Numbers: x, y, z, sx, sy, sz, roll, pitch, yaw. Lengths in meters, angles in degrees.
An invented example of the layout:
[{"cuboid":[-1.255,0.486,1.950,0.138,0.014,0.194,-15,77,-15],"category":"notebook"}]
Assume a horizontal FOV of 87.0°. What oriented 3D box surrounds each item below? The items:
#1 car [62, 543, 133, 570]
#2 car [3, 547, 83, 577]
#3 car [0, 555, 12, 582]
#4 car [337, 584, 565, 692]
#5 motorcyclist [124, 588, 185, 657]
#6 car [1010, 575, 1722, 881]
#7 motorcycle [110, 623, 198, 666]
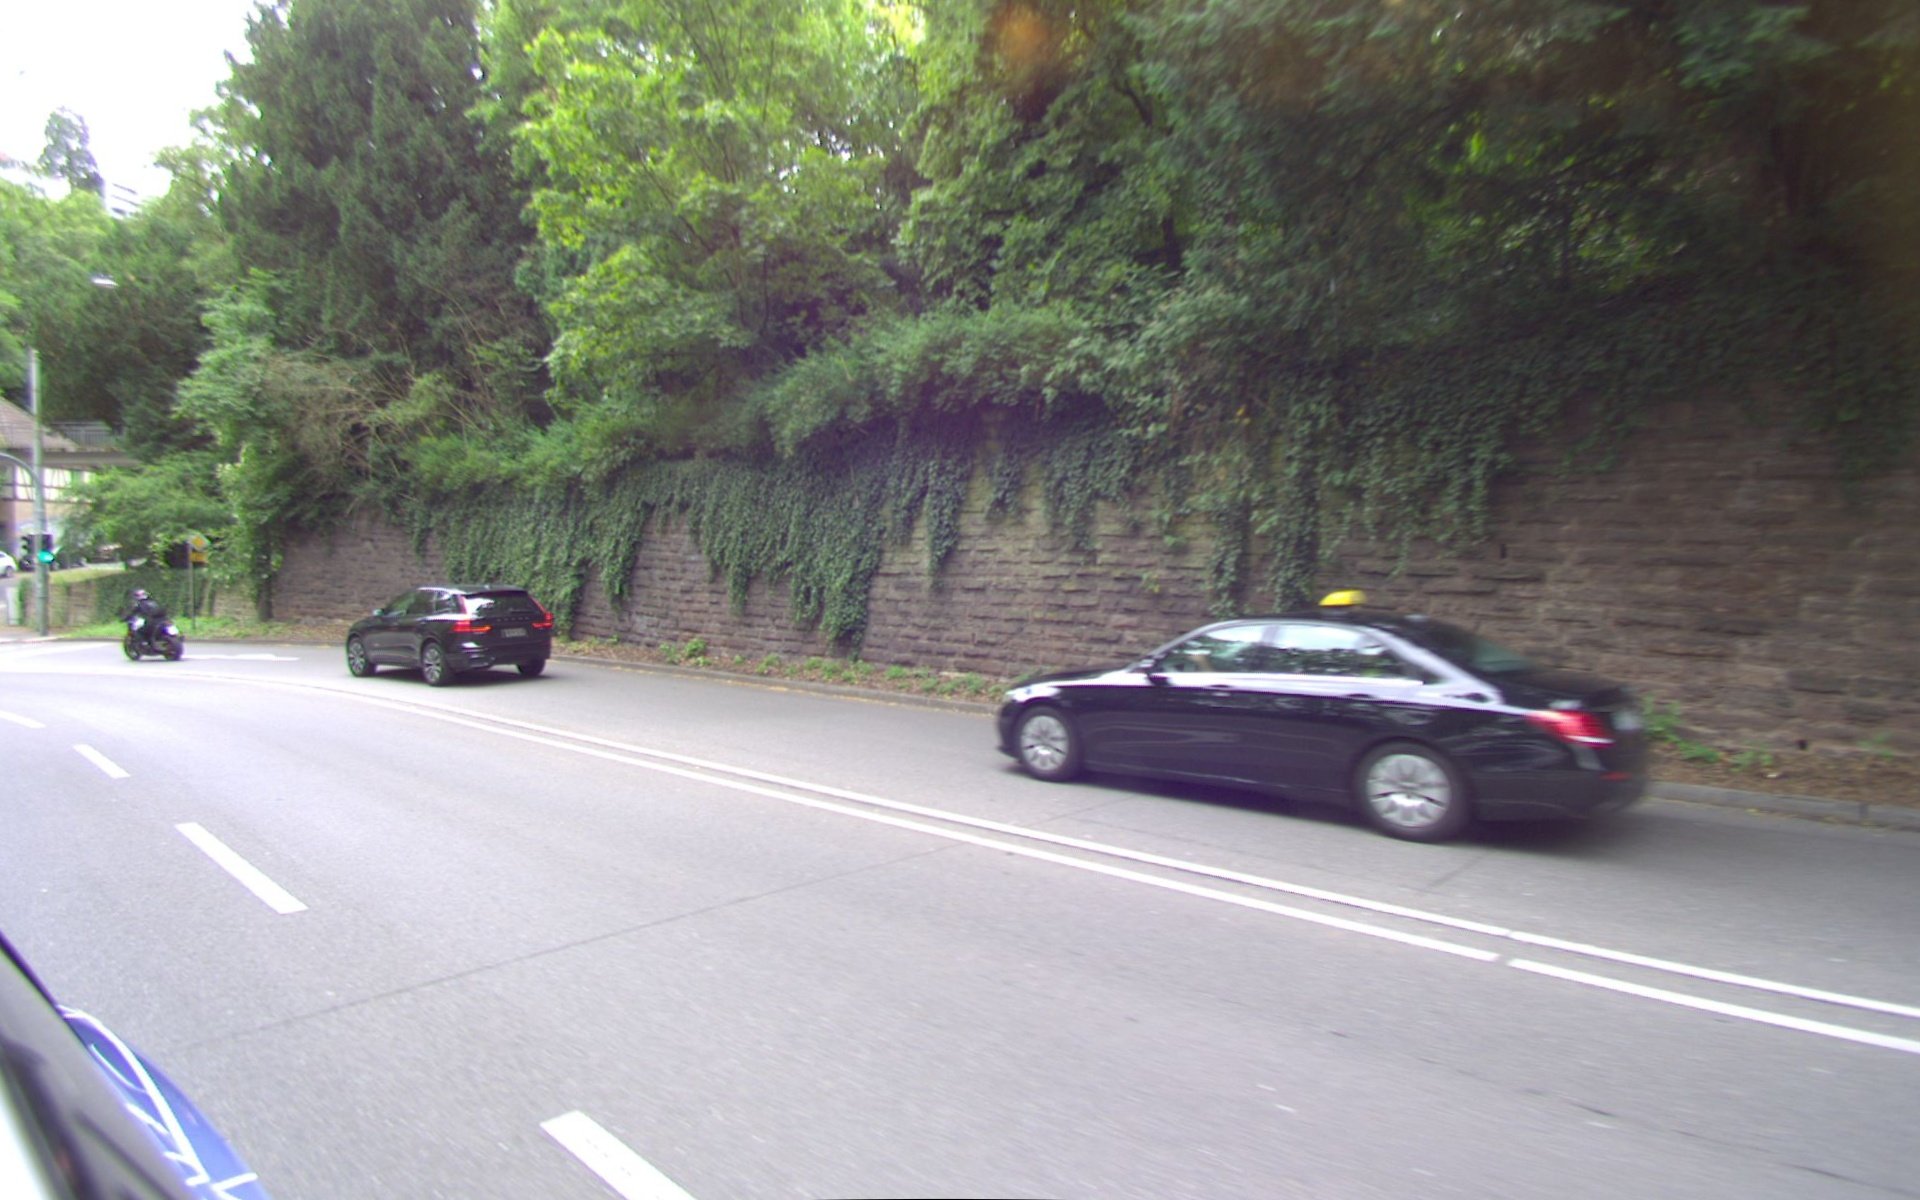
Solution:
[{"cuboid":[-53.005,-2.706,62.273,1.576,1.338,3.924,1,7,-12],"category":"car"},{"cuboid":[-52.125,-2.186,57.626,1.576,1.338,3.924,1,7,-12],"category":"car"},{"cuboid":[-50.939,-1.486,51.799,1.602,1.338,4.036,1,7,-12],"category":"car"},{"cuboid":[-9.095,0.593,17.949,4.504,1.661,1.832,0,1,38],"category":"car"},{"cuboid":[-18.398,0.496,23.117,1.091,1.540,0.741,0,1,31],"category":"motorcyclist"},{"cuboid":[2.721,0.684,7.606,4.631,1.609,1.841,0,0,44],"category":"car"},{"cuboid":[-18.470,0.999,23.177,2.421,0.896,0.802,0,1,31],"category":"motorcycle"}]
